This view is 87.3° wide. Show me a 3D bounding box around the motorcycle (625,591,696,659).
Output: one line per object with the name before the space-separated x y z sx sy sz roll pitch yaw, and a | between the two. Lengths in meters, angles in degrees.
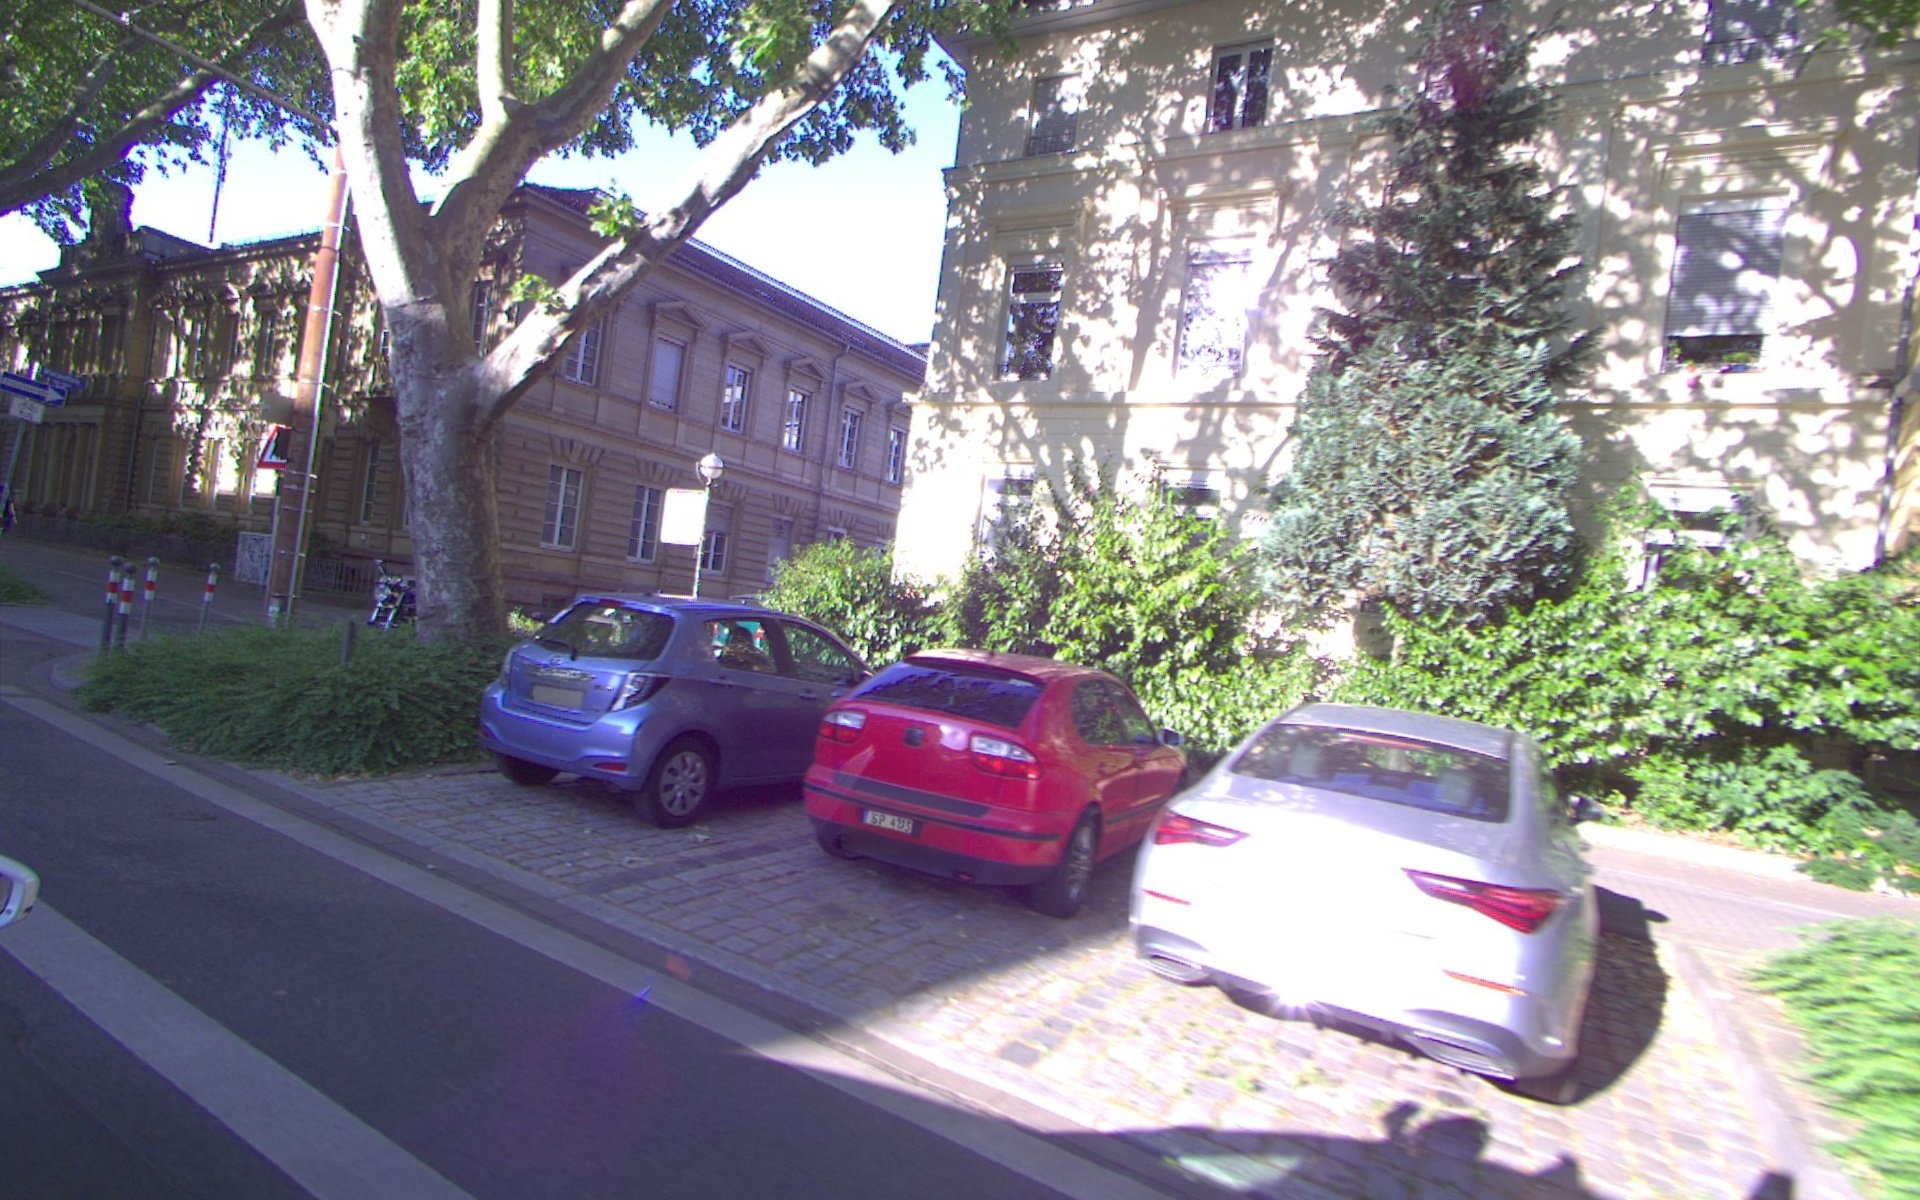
motorcycle | -7.610 0.607 25.489 0.567 1.448 2.257 9 -1 -44

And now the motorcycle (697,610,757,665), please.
motorcycle | -6.289 0.993 27.041 0.493 1.311 2.159 9 -4 -40

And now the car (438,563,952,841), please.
car | -1.807 0.737 8.007 1.653 1.526 3.758 7 -1 30

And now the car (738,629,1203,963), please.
car | 0.382 1.045 6.832 1.651 1.404 3.760 7 0 25

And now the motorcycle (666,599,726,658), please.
motorcycle | -6.903 0.732 26.239 0.493 1.311 2.158 9 -2 -40

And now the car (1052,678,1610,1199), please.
car | 2.289 1.257 5.384 1.731 1.434 4.290 7 0 32

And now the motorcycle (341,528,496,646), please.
motorcycle | -6.534 -0.094 12.294 0.466 1.241 2.174 7 -3 3

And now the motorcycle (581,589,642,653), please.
motorcycle | -8.524 0.483 24.539 0.493 1.311 2.158 9 -1 -40

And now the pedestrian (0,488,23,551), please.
pedestrian | -26.302 -2.219 27.597 0.645 1.651 0.862 9 -2 -40

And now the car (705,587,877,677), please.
car | -3.483 0.726 21.277 1.604 1.607 3.477 3 -3 32
